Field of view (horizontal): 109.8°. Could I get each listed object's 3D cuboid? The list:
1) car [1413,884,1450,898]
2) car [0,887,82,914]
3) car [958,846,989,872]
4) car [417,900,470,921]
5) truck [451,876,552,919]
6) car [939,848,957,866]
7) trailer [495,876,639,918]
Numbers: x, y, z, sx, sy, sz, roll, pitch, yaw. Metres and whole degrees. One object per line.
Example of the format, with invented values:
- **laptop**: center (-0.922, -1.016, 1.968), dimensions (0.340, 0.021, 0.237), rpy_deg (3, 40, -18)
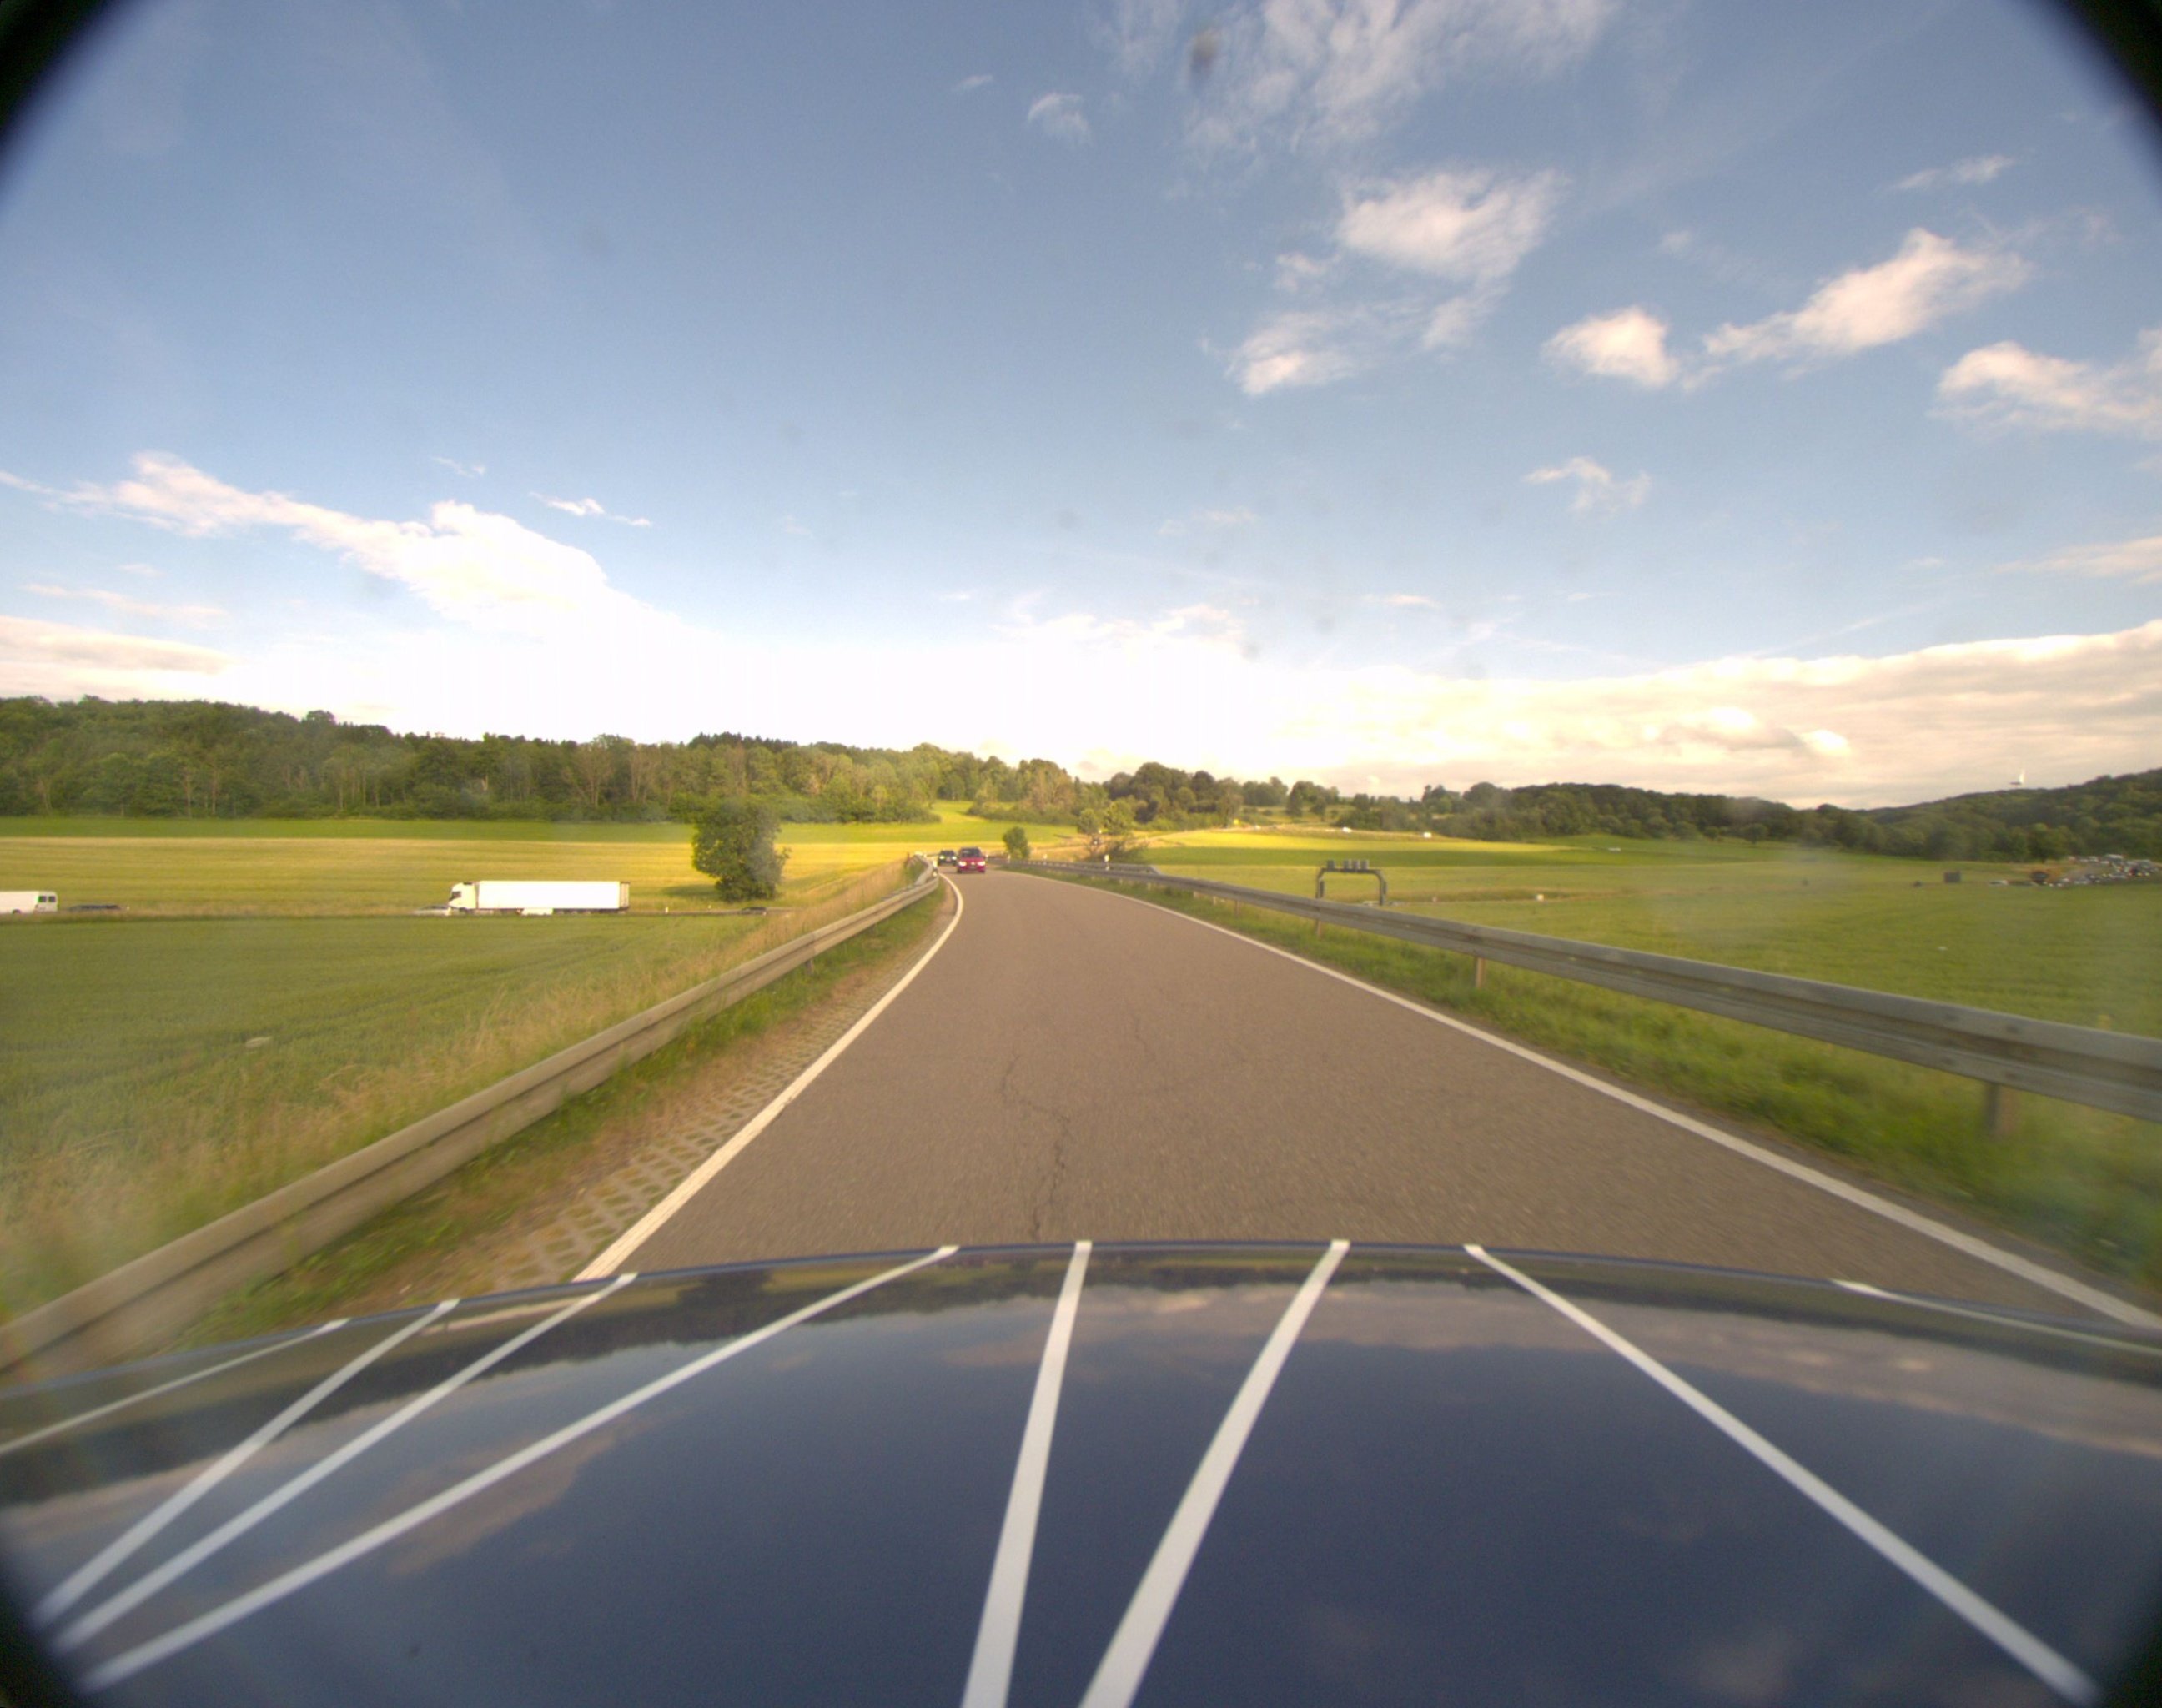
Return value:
- **car**: center (44.649, 4.705, 96.815), dimensions (4.003, 1.641, 1.825), rpy_deg (0, 2, -17)
- **car**: center (-102.981, 4.545, 74.374), dimensions (6.124, 2.568, 2.373), rpy_deg (1, -3, -10)
- **car**: center (-7.448, 0.329, 52.390), dimensions (1.823, 1.645, 3.995), rpy_deg (-1, 0, -12)
- **car**: center (-63.154, 5.589, 75.285), dimensions (3.468, 1.634, 1.759), rpy_deg (-2, 5, -11)
- **truck**: center (-61.962, 4.611, 81.441), dimensions (8.058, 4.441, 3.027), rpy_deg (1, -1, -11)
- **car**: center (-13.904, 0.289, 79.526), dimensions (1.823, 1.602, 3.995), rpy_deg (2, 2, -10)
- **trailer**: center (-55.660, 4.688, 82.648), dimensions (12.730, 4.441, 3.030), rpy_deg (1, -1, -11)
